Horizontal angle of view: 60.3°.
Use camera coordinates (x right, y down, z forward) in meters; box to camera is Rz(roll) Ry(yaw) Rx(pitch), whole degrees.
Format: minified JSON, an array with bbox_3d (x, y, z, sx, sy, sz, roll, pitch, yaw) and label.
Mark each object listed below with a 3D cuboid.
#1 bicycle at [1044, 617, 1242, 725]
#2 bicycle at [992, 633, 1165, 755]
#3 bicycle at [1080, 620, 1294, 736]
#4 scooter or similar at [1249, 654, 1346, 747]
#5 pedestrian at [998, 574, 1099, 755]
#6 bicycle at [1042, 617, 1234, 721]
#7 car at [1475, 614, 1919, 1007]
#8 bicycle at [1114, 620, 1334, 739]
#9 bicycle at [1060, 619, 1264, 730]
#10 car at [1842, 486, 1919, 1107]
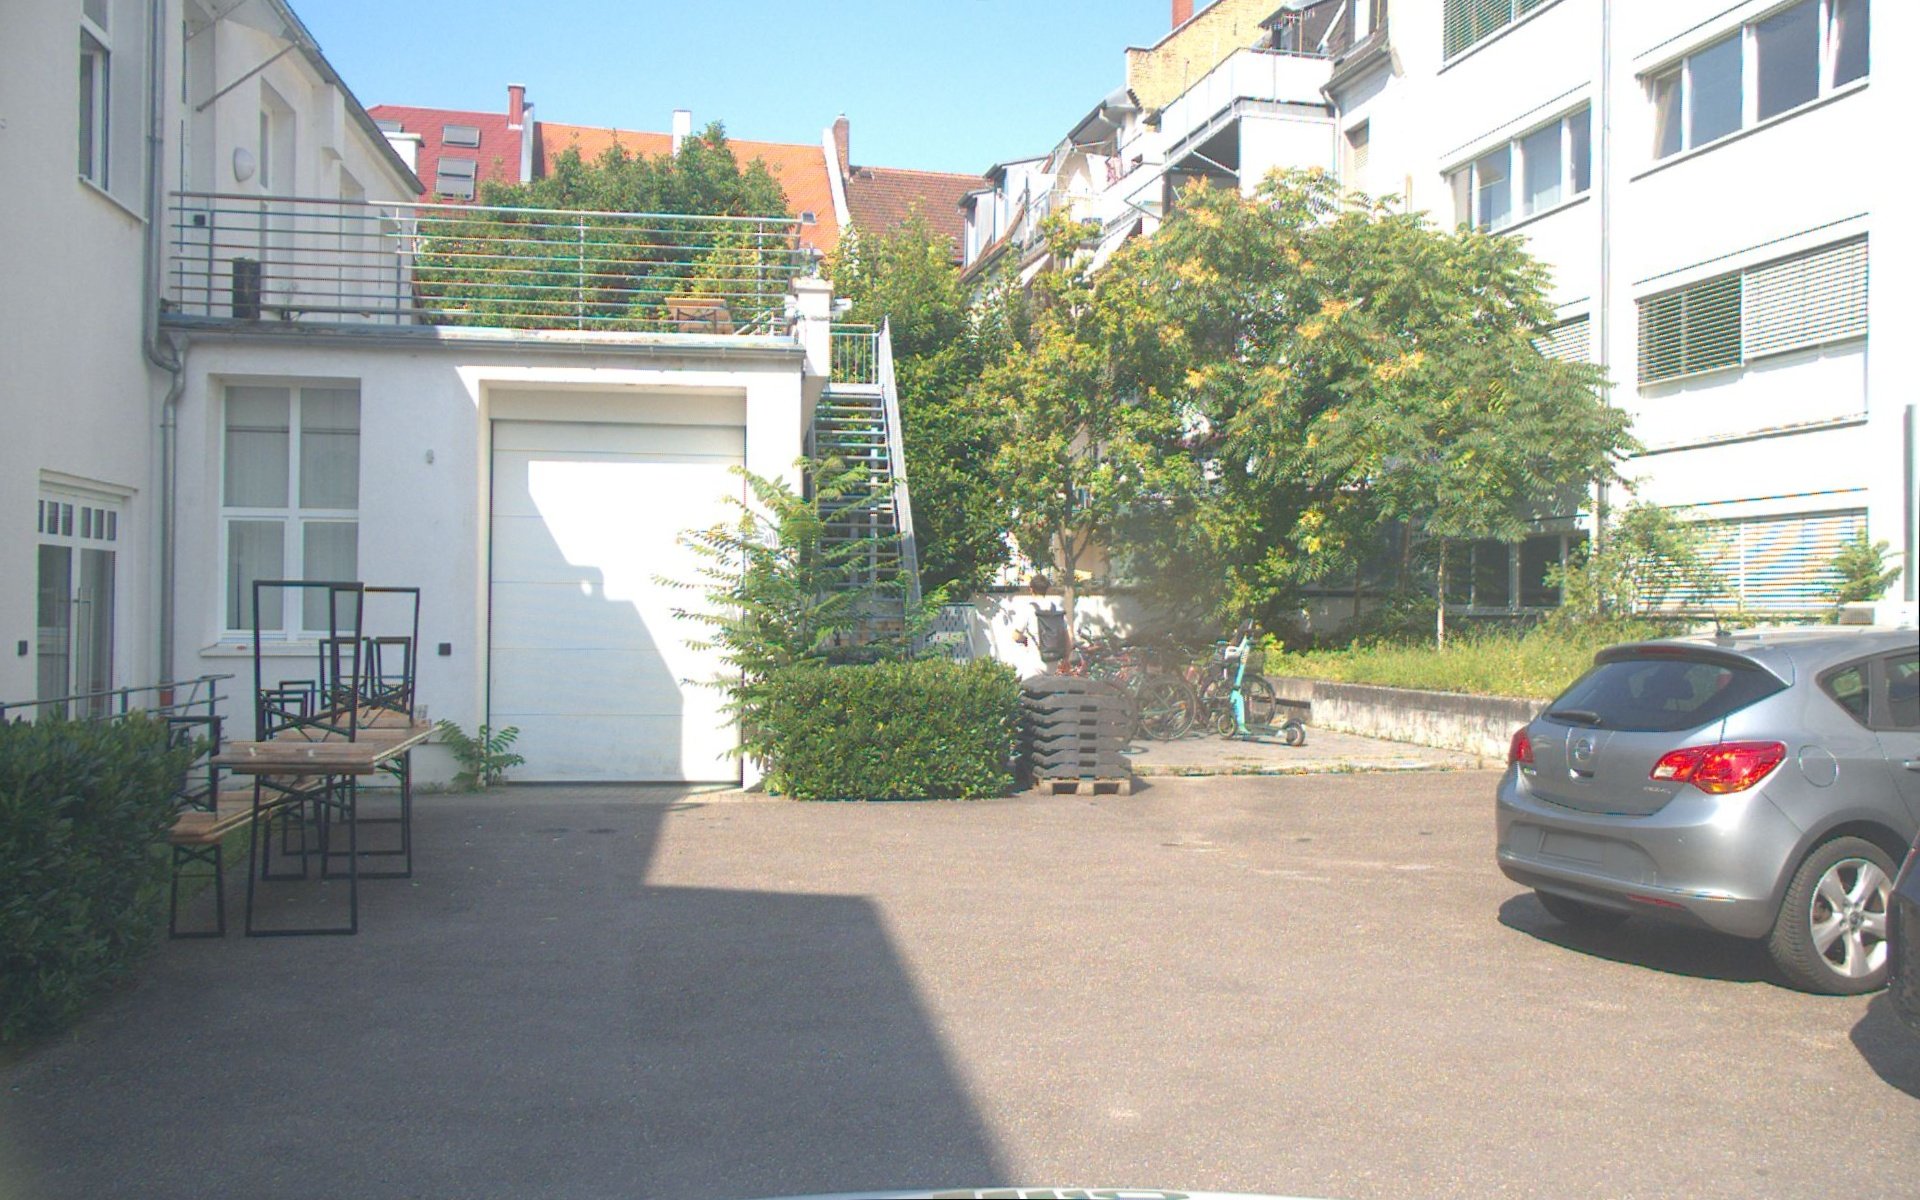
[{"bbox_3d":[2.255,0.873,20.426,2.366,1.268,0.525,1,-1,-8],"label":"bicycle"},{"bbox_3d":[1.203,0.947,17.182,0.486,1.163,1.961,-1,0,-44],"label":"bicycle"},{"bbox_3d":[2.610,0.895,19.052,2.366,1.268,0.525,1,-1,-8],"label":"bicycle"},{"bbox_3d":[3.661,1.079,17.976,0.983,0.940,0.358,1,-1,45],"label":"scooter or similar"},{"bbox_3d":[0.917,0.649,17.023,0.601,1.803,0.855,0,-1,44],"label":"pedestrian"},{"bbox_3d":[2.269,0.876,21.150,2.366,1.268,0.525,1,-1,-8],"label":"bicycle"},{"bbox_3d":[4.535,0.822,7.856,3.841,1.491,1.652,0,0,-22],"label":"car"},{"bbox_3d":[2.937,0.881,18.424,2.366,1.268,0.525,1,-1,-8],"label":"bicycle"},{"bbox_3d":[2.417,0.887,19.828,2.366,1.268,0.525,1,-1,-8],"label":"bicycle"},{"bbox_3d":[5.141,0.603,5.072,4.267,1.891,1.905,0,0,-18],"label":"car"}]
